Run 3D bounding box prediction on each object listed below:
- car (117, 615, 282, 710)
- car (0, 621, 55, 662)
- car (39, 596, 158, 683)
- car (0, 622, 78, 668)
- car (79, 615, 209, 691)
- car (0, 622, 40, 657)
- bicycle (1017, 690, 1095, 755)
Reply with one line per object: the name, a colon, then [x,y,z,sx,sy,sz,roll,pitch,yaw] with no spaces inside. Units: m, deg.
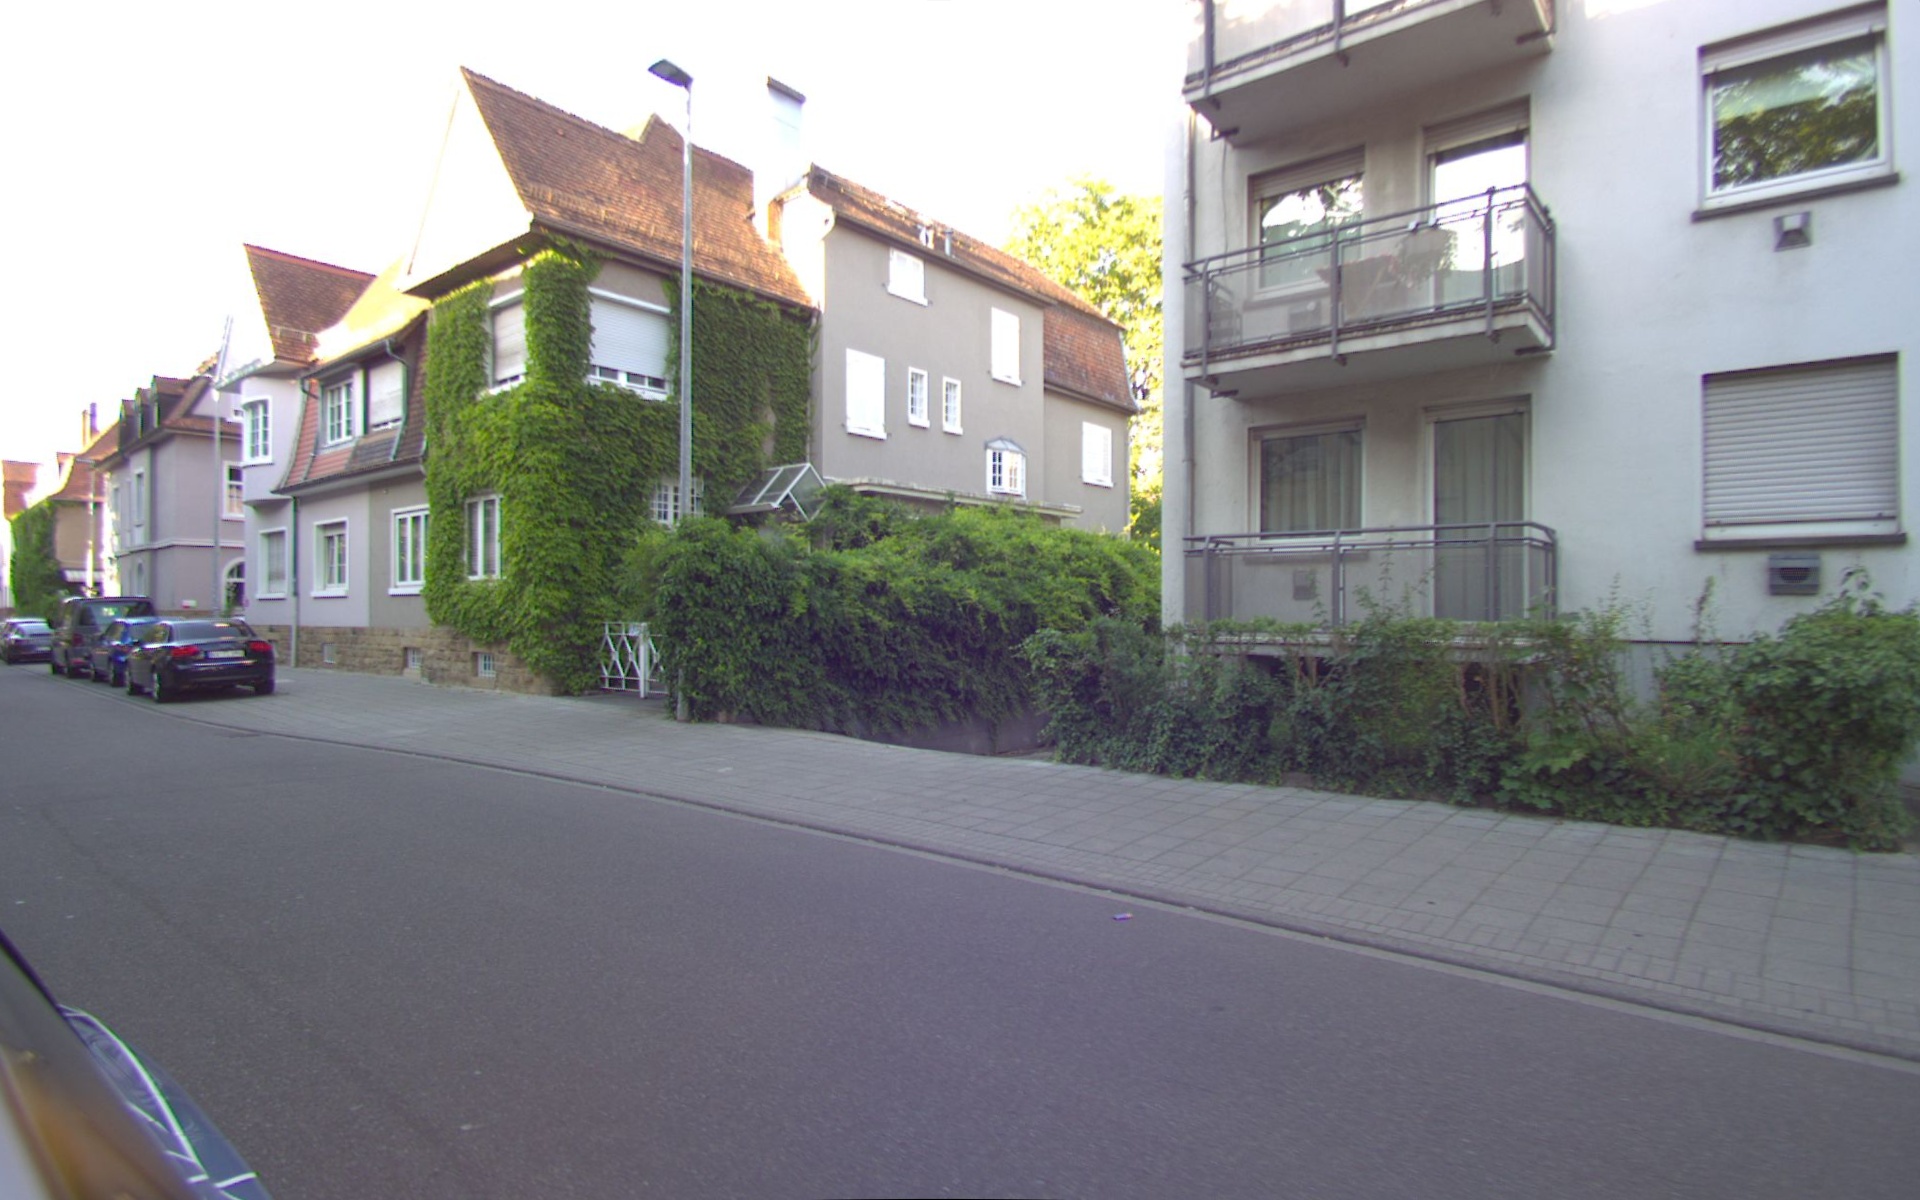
car: [-14.109,1.060,18.699,4.024,1.439,1.728,0,2,43]
car: [-34.797,1.519,37.414,3.944,1.381,1.521,-1,0,42]
car: [-22.232,0.944,26.067,4.310,1.987,1.697,-1,2,42]
car: [-30.813,1.458,33.635,4.333,1.381,1.697,-1,0,42]
car: [-18.441,1.130,22.807,4.023,1.475,1.590,-1,2,42]
car: [-40.669,1.664,43.137,3.944,1.381,1.697,-1,0,42]
bicycle: [1.876,2.339,19.553,0.514,1.027,1.913,0,0,40]
